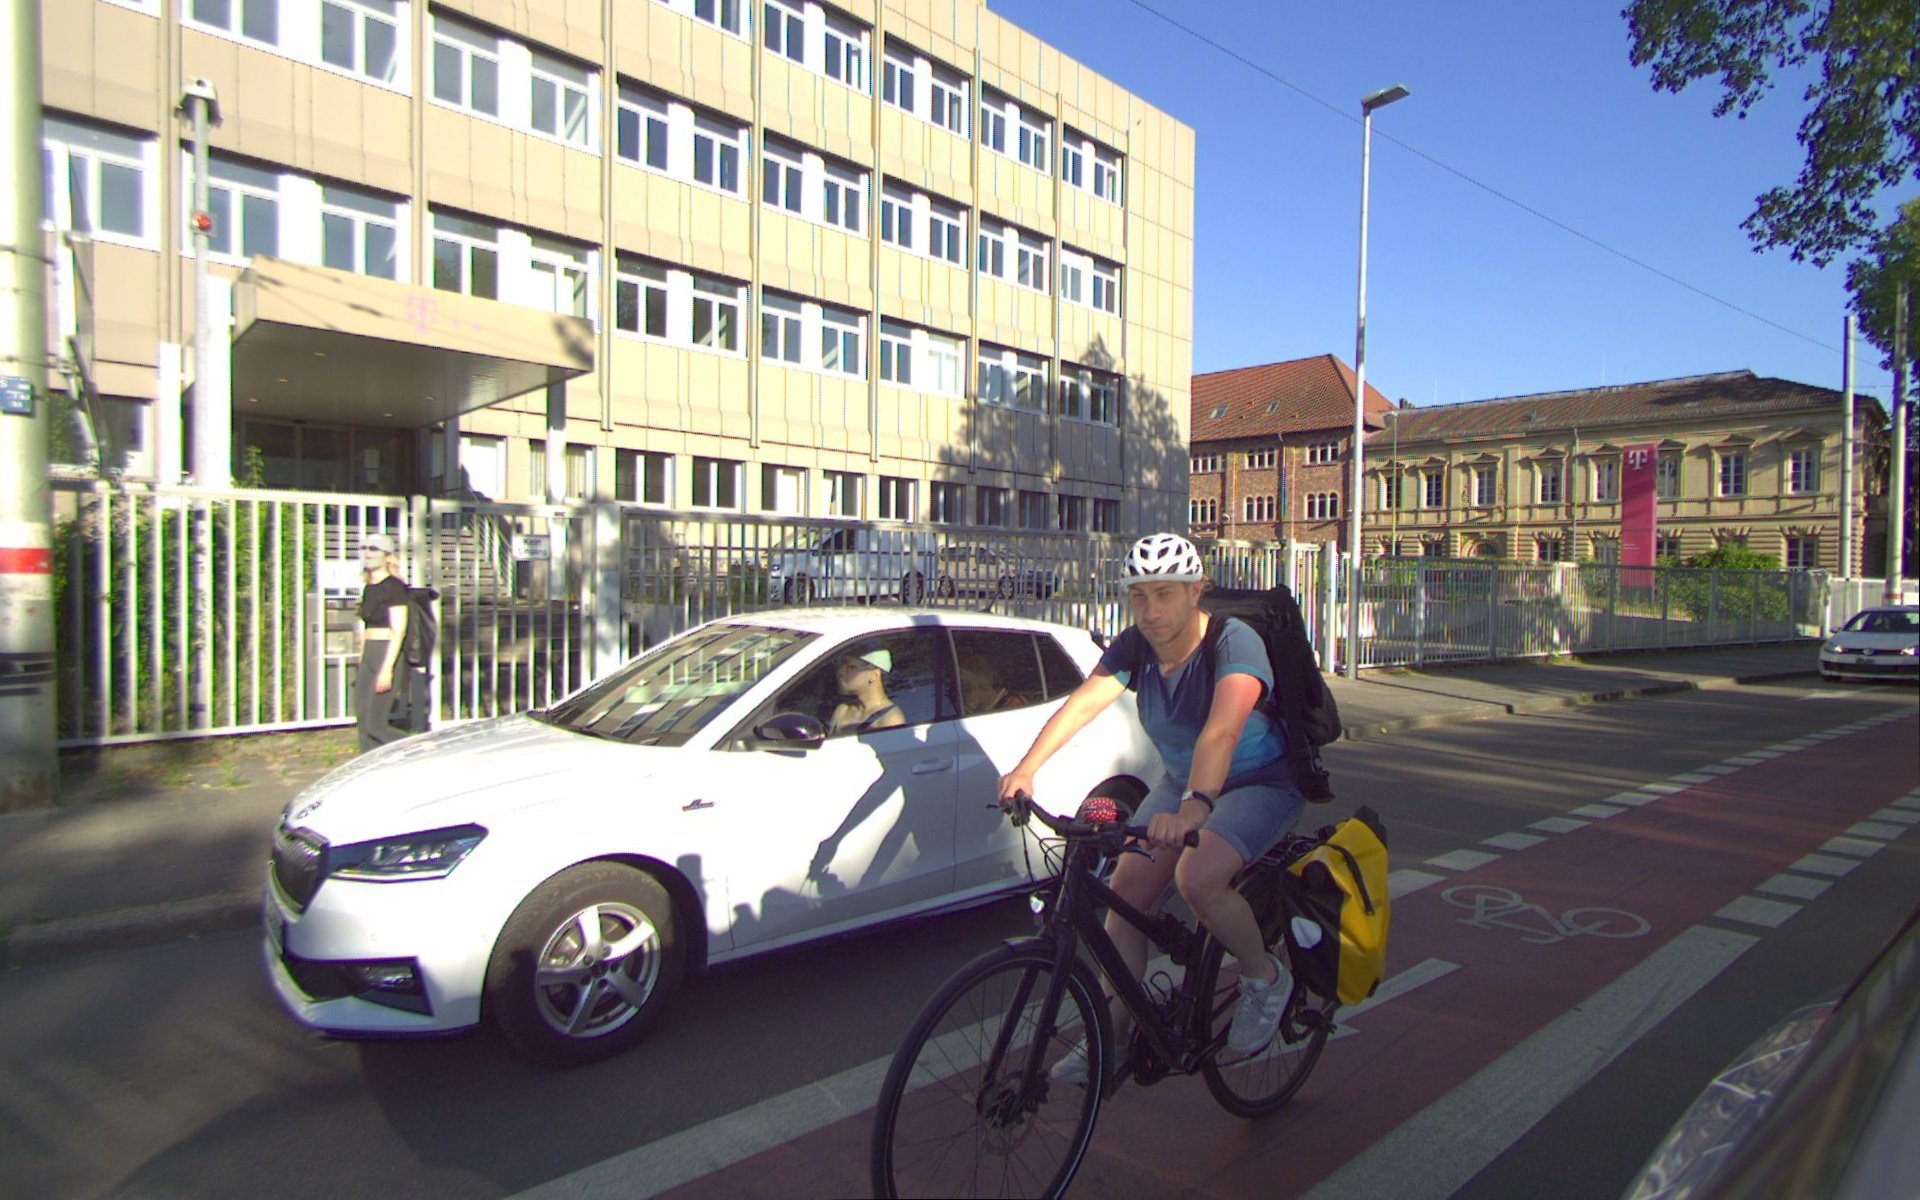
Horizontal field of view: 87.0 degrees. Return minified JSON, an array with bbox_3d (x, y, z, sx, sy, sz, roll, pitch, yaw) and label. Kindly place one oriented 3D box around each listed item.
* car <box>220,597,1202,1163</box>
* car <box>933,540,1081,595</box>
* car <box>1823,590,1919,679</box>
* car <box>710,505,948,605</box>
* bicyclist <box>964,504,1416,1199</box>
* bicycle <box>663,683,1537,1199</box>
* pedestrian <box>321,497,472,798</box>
[{"bbox_3d":[-0.779,0.709,4.571,4.005,1.406,1.703,-1,1,-42],"label":"car"},{"bbox_3d":[1.399,-1.031,31.772,1.967,1.600,4.567,0,2,-44],"label":"car"},{"bbox_3d":[18.163,0.581,19.081,4.219,1.521,1.794,-1,-1,-34],"label":"car"},{"bbox_3d":[-2.648,-0.899,21.258,4.706,1.865,1.996,-1,2,-44],"label":"car"},{"bbox_3d":[0.568,0.524,2.527,0.843,1.440,0.728,-1,0,-38],"label":"bicyclist"},{"bbox_3d":[0.512,0.884,2.483,2.265,1.158,0.764,0,2,-38],"label":"bicycle"},{"bbox_3d":[-3.600,0.274,6.463,0.756,1.784,0.592,0,1,-39],"label":"pedestrian"}]
